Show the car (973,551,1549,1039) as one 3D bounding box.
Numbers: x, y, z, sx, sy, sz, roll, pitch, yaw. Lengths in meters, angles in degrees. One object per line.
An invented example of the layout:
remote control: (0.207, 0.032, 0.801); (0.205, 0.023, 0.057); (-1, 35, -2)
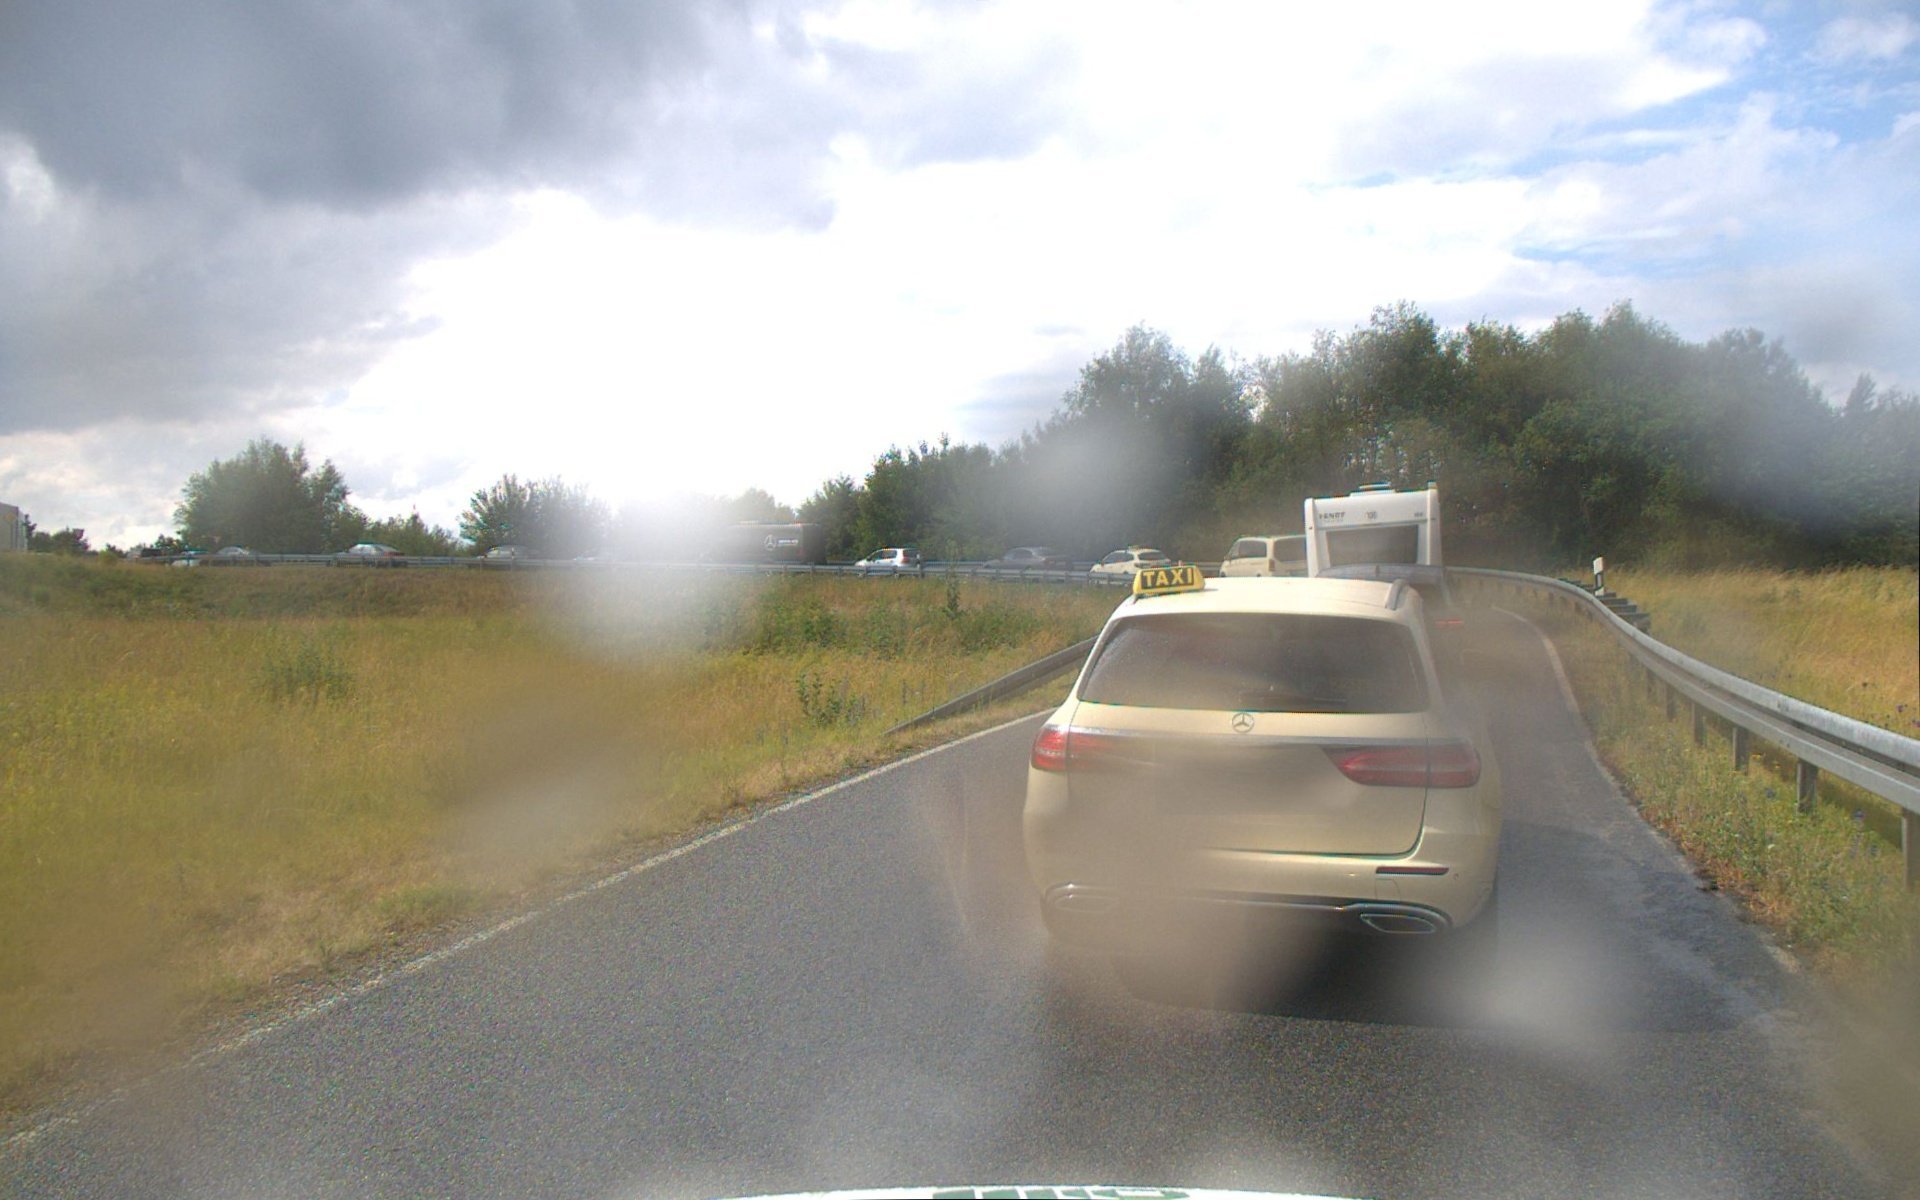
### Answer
car: (1.578, 0.553, 7.729); (1.875, 1.533, 4.600); (1, 2, 16)

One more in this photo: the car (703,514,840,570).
car: (-9.765, -2.957, 85.427); (6.842, 2.640, 2.865); (0, 1, 35)

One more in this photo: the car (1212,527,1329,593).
car: (9.967, -1.256, 53.475); (1.958, 1.894, 5.043); (-1, 0, -11)

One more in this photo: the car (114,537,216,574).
car: (-46.372, -2.585, 96.509); (4.936, 1.894, 2.000); (-2, -1, 1)

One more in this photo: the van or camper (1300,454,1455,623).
van or camper: (7.804, -0.990, 30.439); (2.379, 2.777, 6.004); (0, -1, 18)

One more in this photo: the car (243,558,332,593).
car: (-40.009, -1.446, 98.424); (4.401, 1.894, 2.001); (-2, -1, 6)

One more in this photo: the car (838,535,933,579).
car: (-3.673, -2.070, 80.546); (1.982, 1.894, 4.983); (-1, -1, -40)

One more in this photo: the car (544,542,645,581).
car: (-19.767, -2.079, 89.436); (4.934, 1.894, 2.001); (-2, -1, 17)

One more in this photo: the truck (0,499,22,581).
truck: (-59.077, -3.933, 96.281); (4.394, 4.582, 19.262); (0, -3, -19)

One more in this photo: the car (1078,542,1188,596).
car: (6.607, -1.153, 63.746); (1.968, 1.894, 5.018); (-2, 0, -24)

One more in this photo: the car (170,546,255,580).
car: (-46.845, -2.284, 103.621); (4.938, 1.894, 2.000); (-2, -1, 22)

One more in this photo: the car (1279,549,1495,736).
car: (4.206, 0.354, 15.880); (1.682, 1.551, 4.001); (-1, 0, 19)

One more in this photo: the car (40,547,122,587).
car: (-49.305, -1.834, 92.853); (3.937, 2.049, 1.812); (0, -3, -26)

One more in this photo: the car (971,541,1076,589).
car: (2.750, -1.493, 72.409); (1.977, 1.894, 4.995); (-1, -1, -35)

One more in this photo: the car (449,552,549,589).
car: (-25.583, -1.621, 91.844); (4.933, 1.894, 2.002); (-2, -1, 14)

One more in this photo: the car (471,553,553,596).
car: (-24.973, -1.416, 92.191); (3.908, 2.046, 2.001); (-1, 7, 25)
